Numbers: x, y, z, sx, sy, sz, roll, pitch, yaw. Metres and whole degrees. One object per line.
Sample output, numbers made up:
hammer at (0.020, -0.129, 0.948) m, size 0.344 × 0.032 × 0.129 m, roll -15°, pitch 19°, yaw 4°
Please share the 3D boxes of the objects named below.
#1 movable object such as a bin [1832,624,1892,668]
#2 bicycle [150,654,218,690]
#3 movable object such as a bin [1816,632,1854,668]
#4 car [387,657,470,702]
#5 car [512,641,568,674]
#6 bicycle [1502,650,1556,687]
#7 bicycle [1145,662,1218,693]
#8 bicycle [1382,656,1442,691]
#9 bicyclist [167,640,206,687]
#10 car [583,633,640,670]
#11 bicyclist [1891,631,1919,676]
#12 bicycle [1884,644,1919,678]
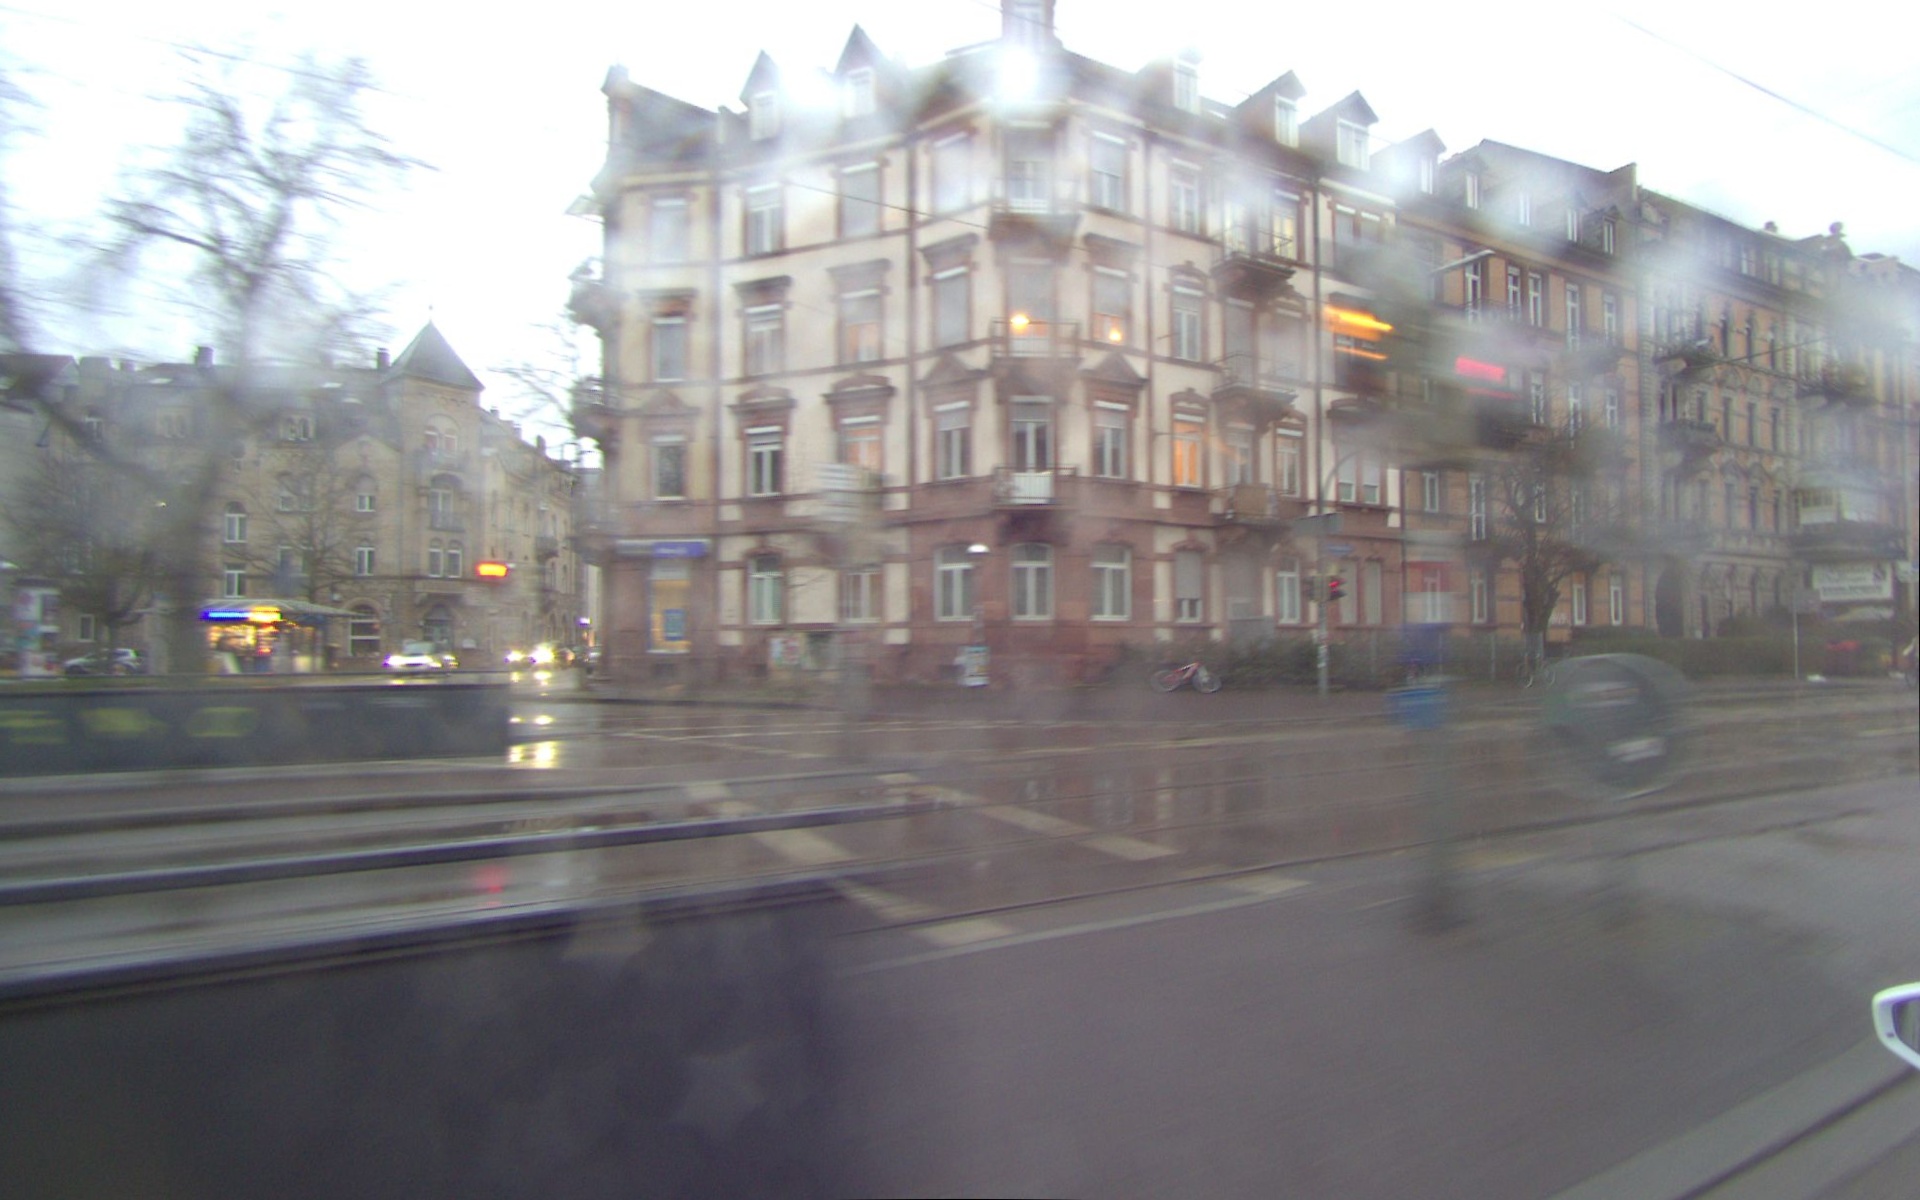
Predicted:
movable object such as a bin at (34.022, 1.711, 37.896) m, size 1.289 × 1.607 × 1.241 m, roll 1°, pitch -1°, yaw -24°
bicycle at (-23.312, 2.156, 30.206) m, size 0.482 × 1.020 × 1.812 m, roll 0°, pitch -2°, yaw 6°
movable object such as a bin at (32.980, 1.878, 37.878) m, size 0.738 × 1.309 × 0.891 m, roll 1°, pitch -2°, yaw -31°
car at (-22.445, 3.321, 42.577) m, size 1.845 × 1.795 × 3.859 m, roll -1°, pitch -3°, yaw -8°
car at (-23.300, 3.194, 55.837) m, size 1.964 × 1.728 × 3.995 m, roll 0°, pitch -3°, yaw -9°
bicycle at (16.159, 1.927, 28.501) m, size 1.826 × 1.020 × 0.414 m, roll 1°, pitch -2°, yaw -28°
bicycle at (5.625, 1.960, 25.569) m, size 1.774 × 0.769 × 0.401 m, roll 0°, pitch -2°, yaw 7°
bicycle at (11.882, 1.925, 26.386) m, size 1.826 × 0.873 × 0.398 m, roll 1°, pitch -2°, yaw -28°
bicyclist at (-23.287, 1.894, 30.247) m, size 0.520 × 1.382 × 0.766 m, roll 1°, pitch -1°, yaw 7°
car at (-17.150, 2.559, 49.649) m, size 1.964 × 1.728 × 3.995 m, roll 0°, pitch -3°, yaw -9°
bicyclist at (29.655, 1.657, 31.275) m, size 0.931 × 1.382 × 0.702 m, roll 1°, pitch 0°, yaw -26°
bicycle at (29.607, 1.894, 31.241) m, size 1.779 × 1.020 × 0.679 m, roll 1°, pitch -2°, yaw -26°
